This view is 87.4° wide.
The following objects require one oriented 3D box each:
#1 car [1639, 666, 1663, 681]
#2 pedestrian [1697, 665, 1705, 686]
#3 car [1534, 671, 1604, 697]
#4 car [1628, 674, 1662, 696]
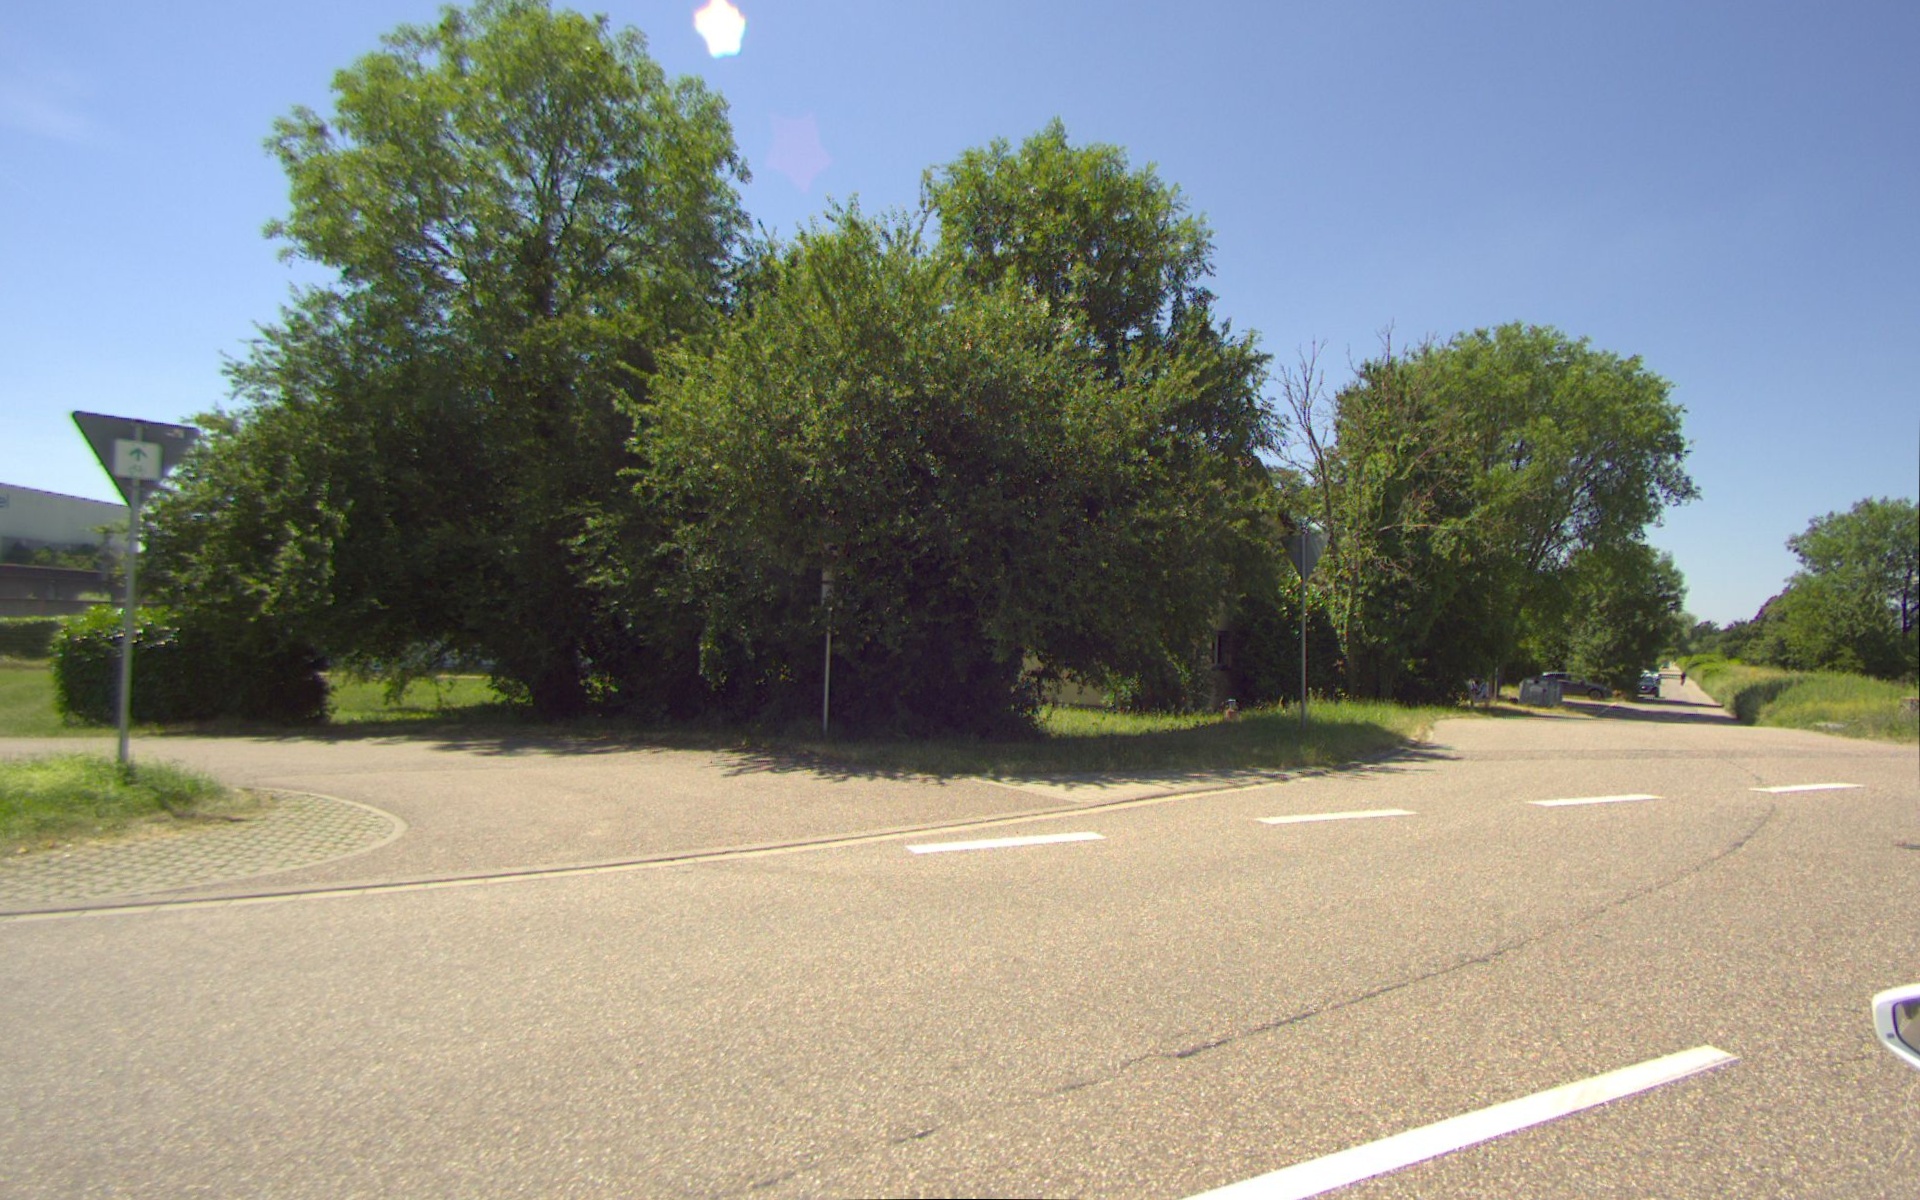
[{"bbox_3d":[81.650,8.689,118.698,1.964,1.617,3.994,0,-3,30],"label":"car"},{"bbox_3d":[75.676,7.699,102.596,0.603,2.040,0.624,0,-2,31],"label":"pedestrian"},{"bbox_3d":[40.880,5.611,67.417,3.934,1.591,1.994,-1,-3,35],"label":"car"},{"bbox_3d":[54.583,6.768,80.087,1.964,1.617,3.994,0,-3,30],"label":"car"}]
